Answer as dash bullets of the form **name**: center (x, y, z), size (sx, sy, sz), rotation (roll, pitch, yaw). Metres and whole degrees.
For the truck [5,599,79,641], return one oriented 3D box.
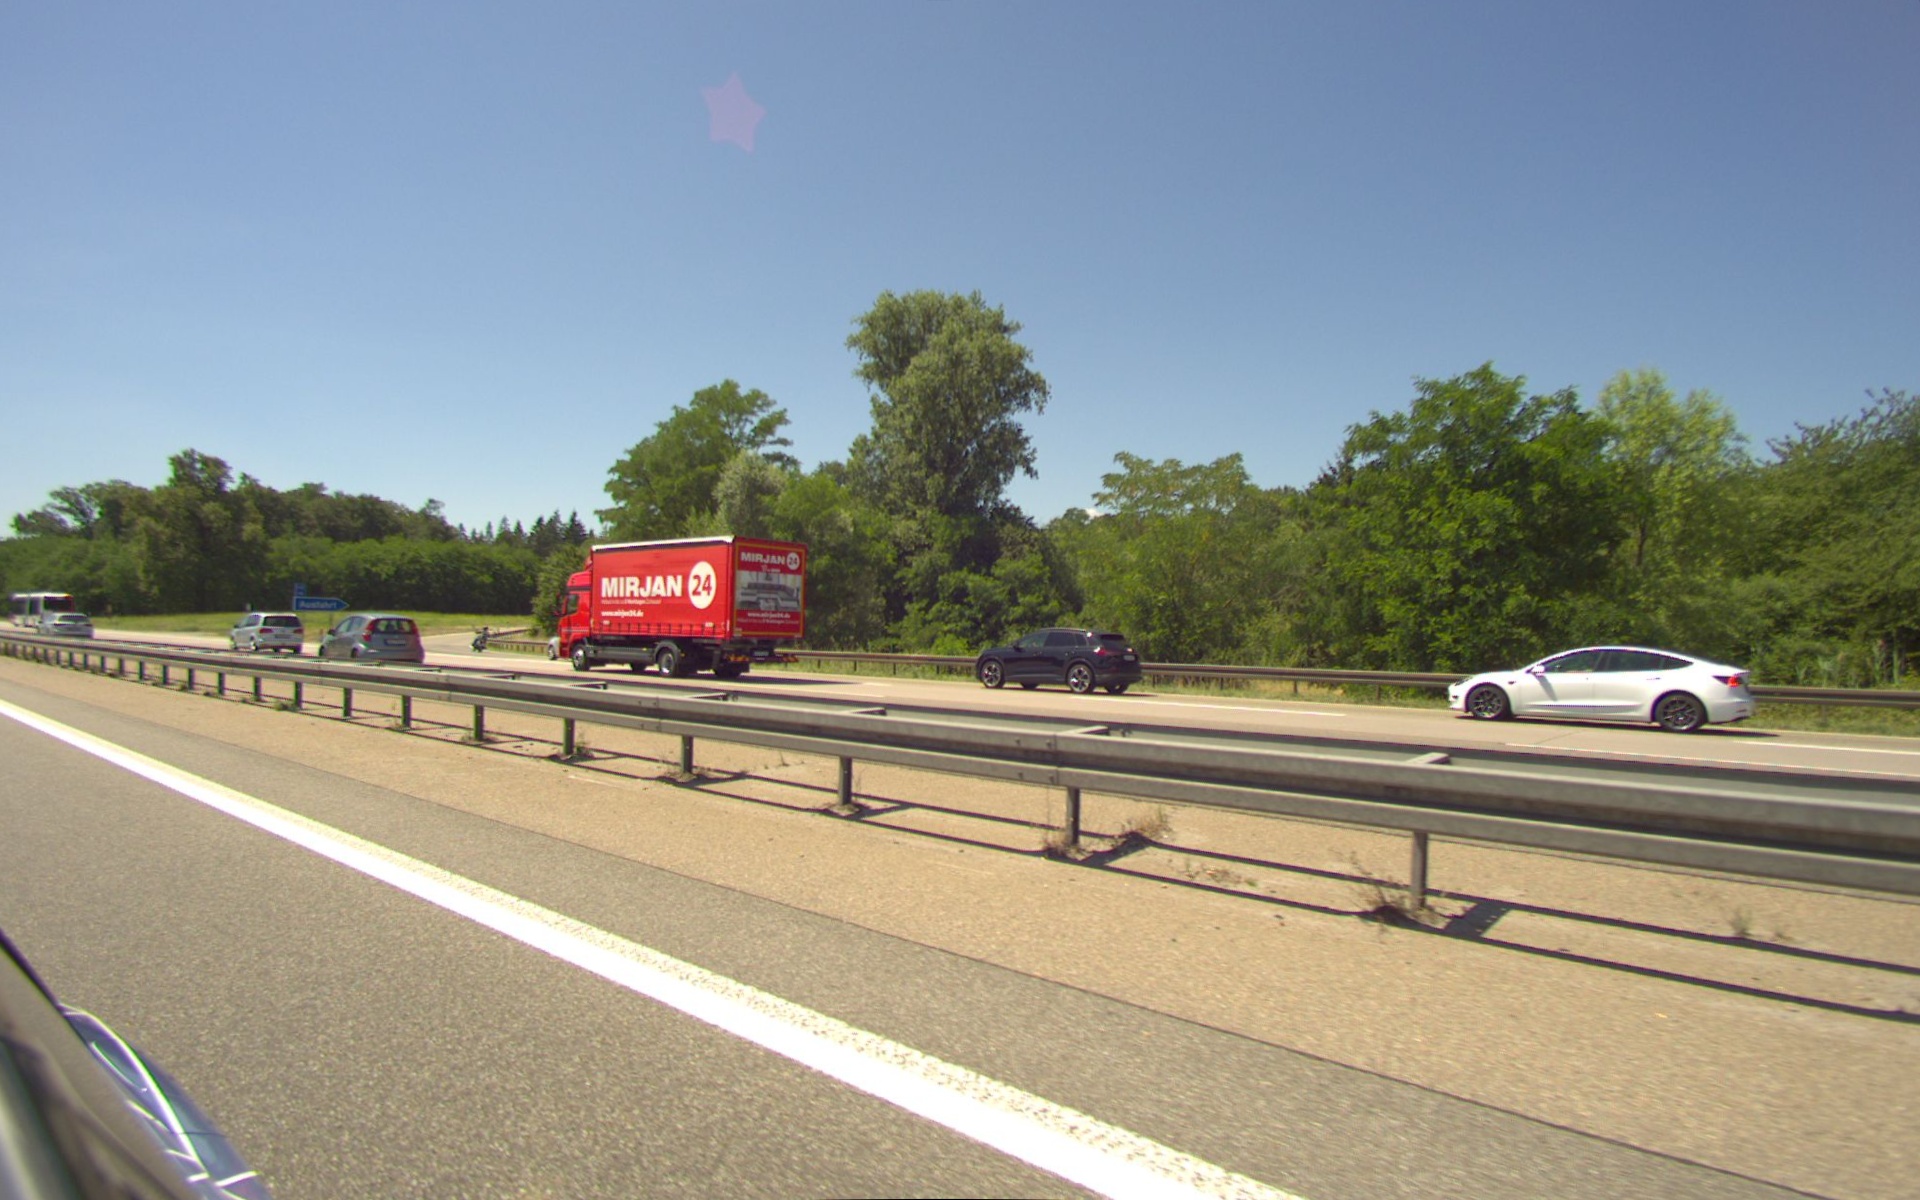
- **truck**: center (-92.980, 2.009, 102.361), size (17.531, 3.905, 3.052), rotation (-1, -2, 40)

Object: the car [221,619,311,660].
- **car**: center (-28.903, 1.626, 42.110), size (4.541, 1.638, 1.973), rotation (-1, -3, 41)

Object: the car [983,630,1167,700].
- **car**: center (2.835, 1.597, 25.457), size (4.267, 1.590, 1.972), rotation (-1, -4, 43)

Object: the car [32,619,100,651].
- **car**: center (-46.274, 1.771, 52.337), size (5.221, 1.564, 1.973), rotation (-1, -2, 41)

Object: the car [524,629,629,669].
- **car**: center (-15.793, 1.987, 41.576), size (4.718, 1.521, 1.973), rotation (-1, -4, 41)

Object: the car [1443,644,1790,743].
- **car**: center (11.535, 1.545, 18.019), size (4.970, 1.423, 1.973), rotation (-1, -2, 41)

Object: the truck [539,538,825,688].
- **truck**: center (-8.431, 0.472, 29.719), size (9.799, 3.755, 3.033), rotation (-1, -4, 41)

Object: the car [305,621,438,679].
- **car**: center (-16.418, 1.334, 28.159), size (4.113, 1.517, 1.877), rotation (-1, -2, 40)
